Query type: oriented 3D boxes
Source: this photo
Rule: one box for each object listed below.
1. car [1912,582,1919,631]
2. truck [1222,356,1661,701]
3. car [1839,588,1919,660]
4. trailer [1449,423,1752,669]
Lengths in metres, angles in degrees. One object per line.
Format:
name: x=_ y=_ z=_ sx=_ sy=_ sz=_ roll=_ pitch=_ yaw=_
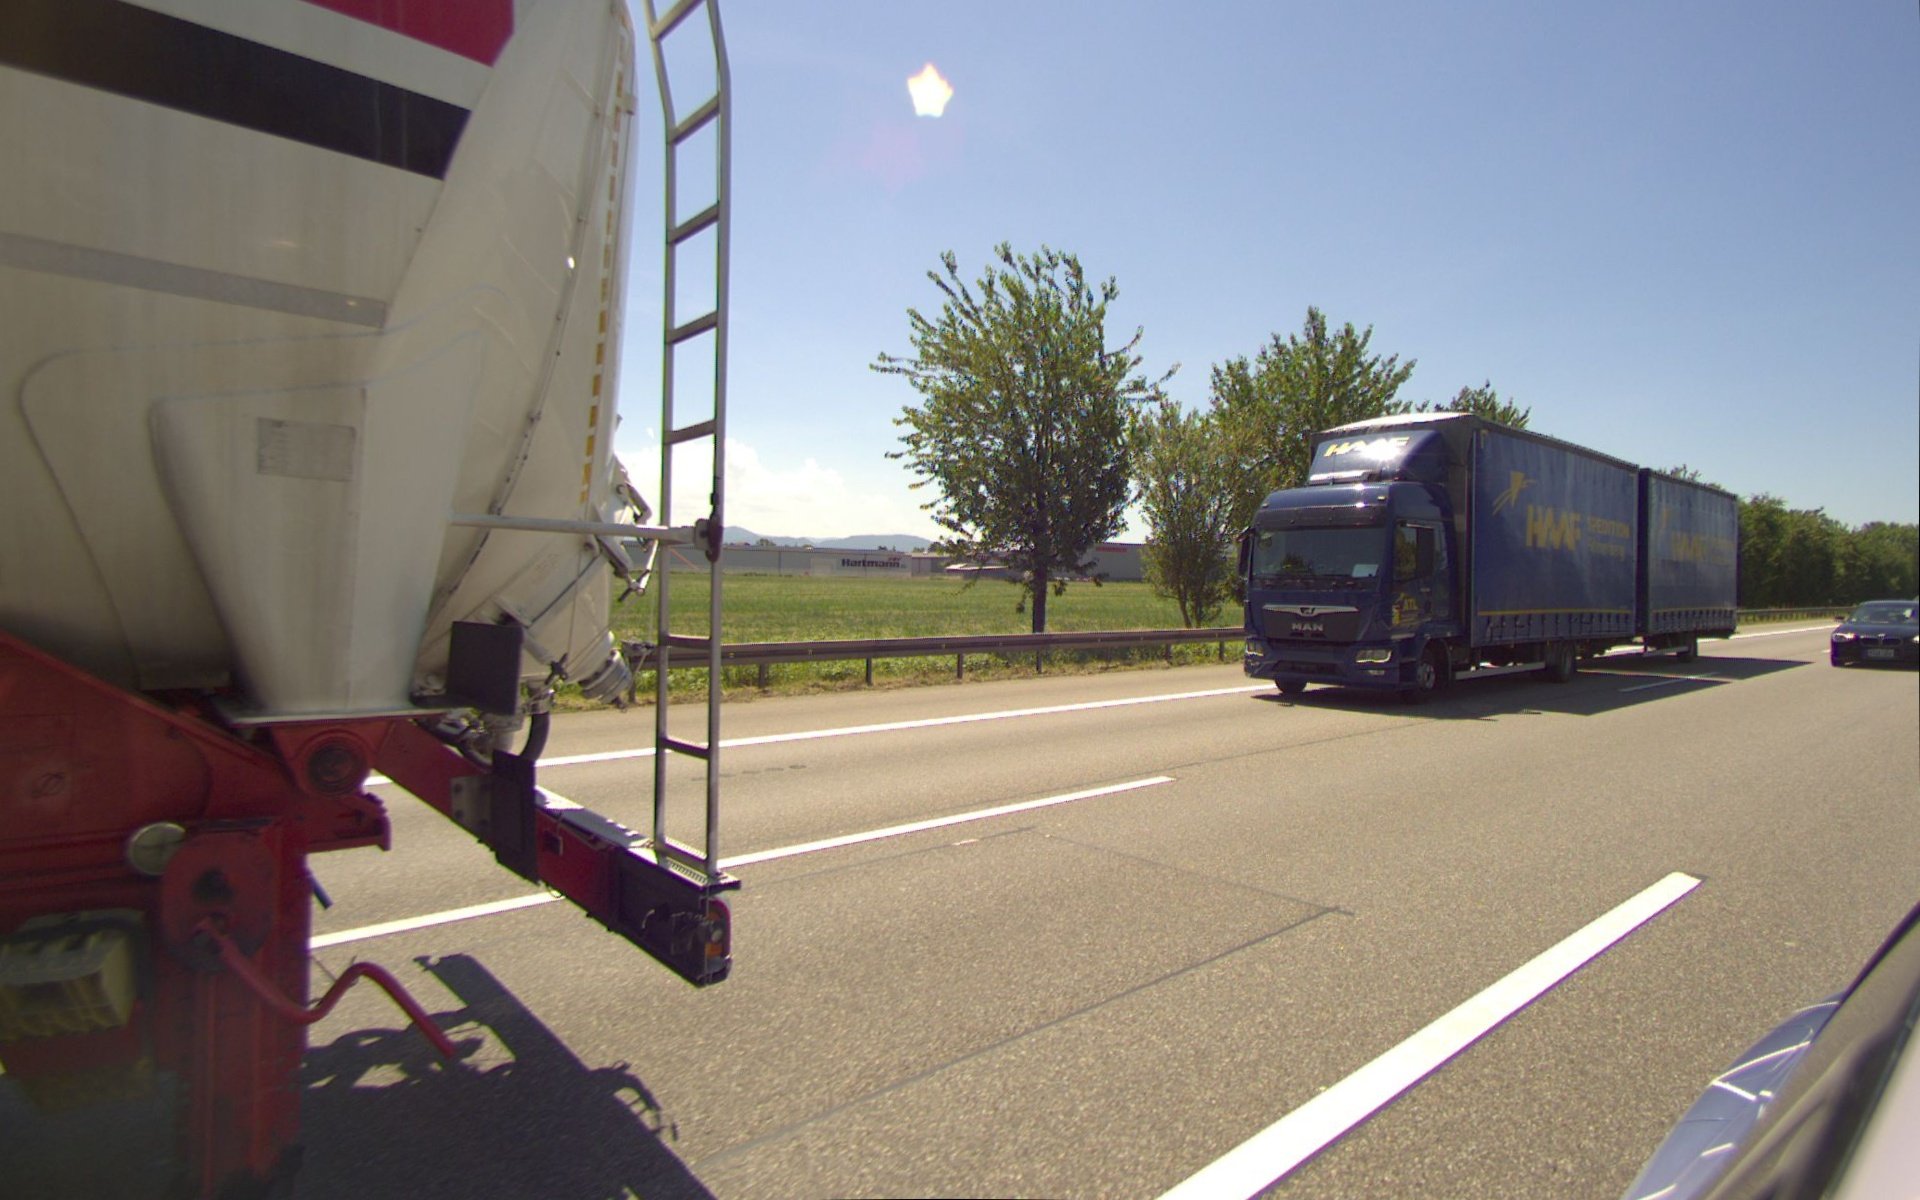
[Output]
car: x=34.437 y=0.237 z=34.973 sx=3.931 sy=1.664 sz=1.885 roll=0 pitch=1 yaw=-42
truck: x=8.678 y=-0.948 z=17.112 sx=10.621 sy=4.257 sz=2.795 roll=0 pitch=1 yaw=-42
car: x=20.903 y=0.473 z=22.244 sx=4.420 sy=1.435 sz=1.839 roll=0 pitch=2 yaw=-42
trailer: x=14.402 y=-0.997 z=22.162 sx=10.621 sy=4.257 sz=2.795 roll=0 pitch=1 yaw=-42
